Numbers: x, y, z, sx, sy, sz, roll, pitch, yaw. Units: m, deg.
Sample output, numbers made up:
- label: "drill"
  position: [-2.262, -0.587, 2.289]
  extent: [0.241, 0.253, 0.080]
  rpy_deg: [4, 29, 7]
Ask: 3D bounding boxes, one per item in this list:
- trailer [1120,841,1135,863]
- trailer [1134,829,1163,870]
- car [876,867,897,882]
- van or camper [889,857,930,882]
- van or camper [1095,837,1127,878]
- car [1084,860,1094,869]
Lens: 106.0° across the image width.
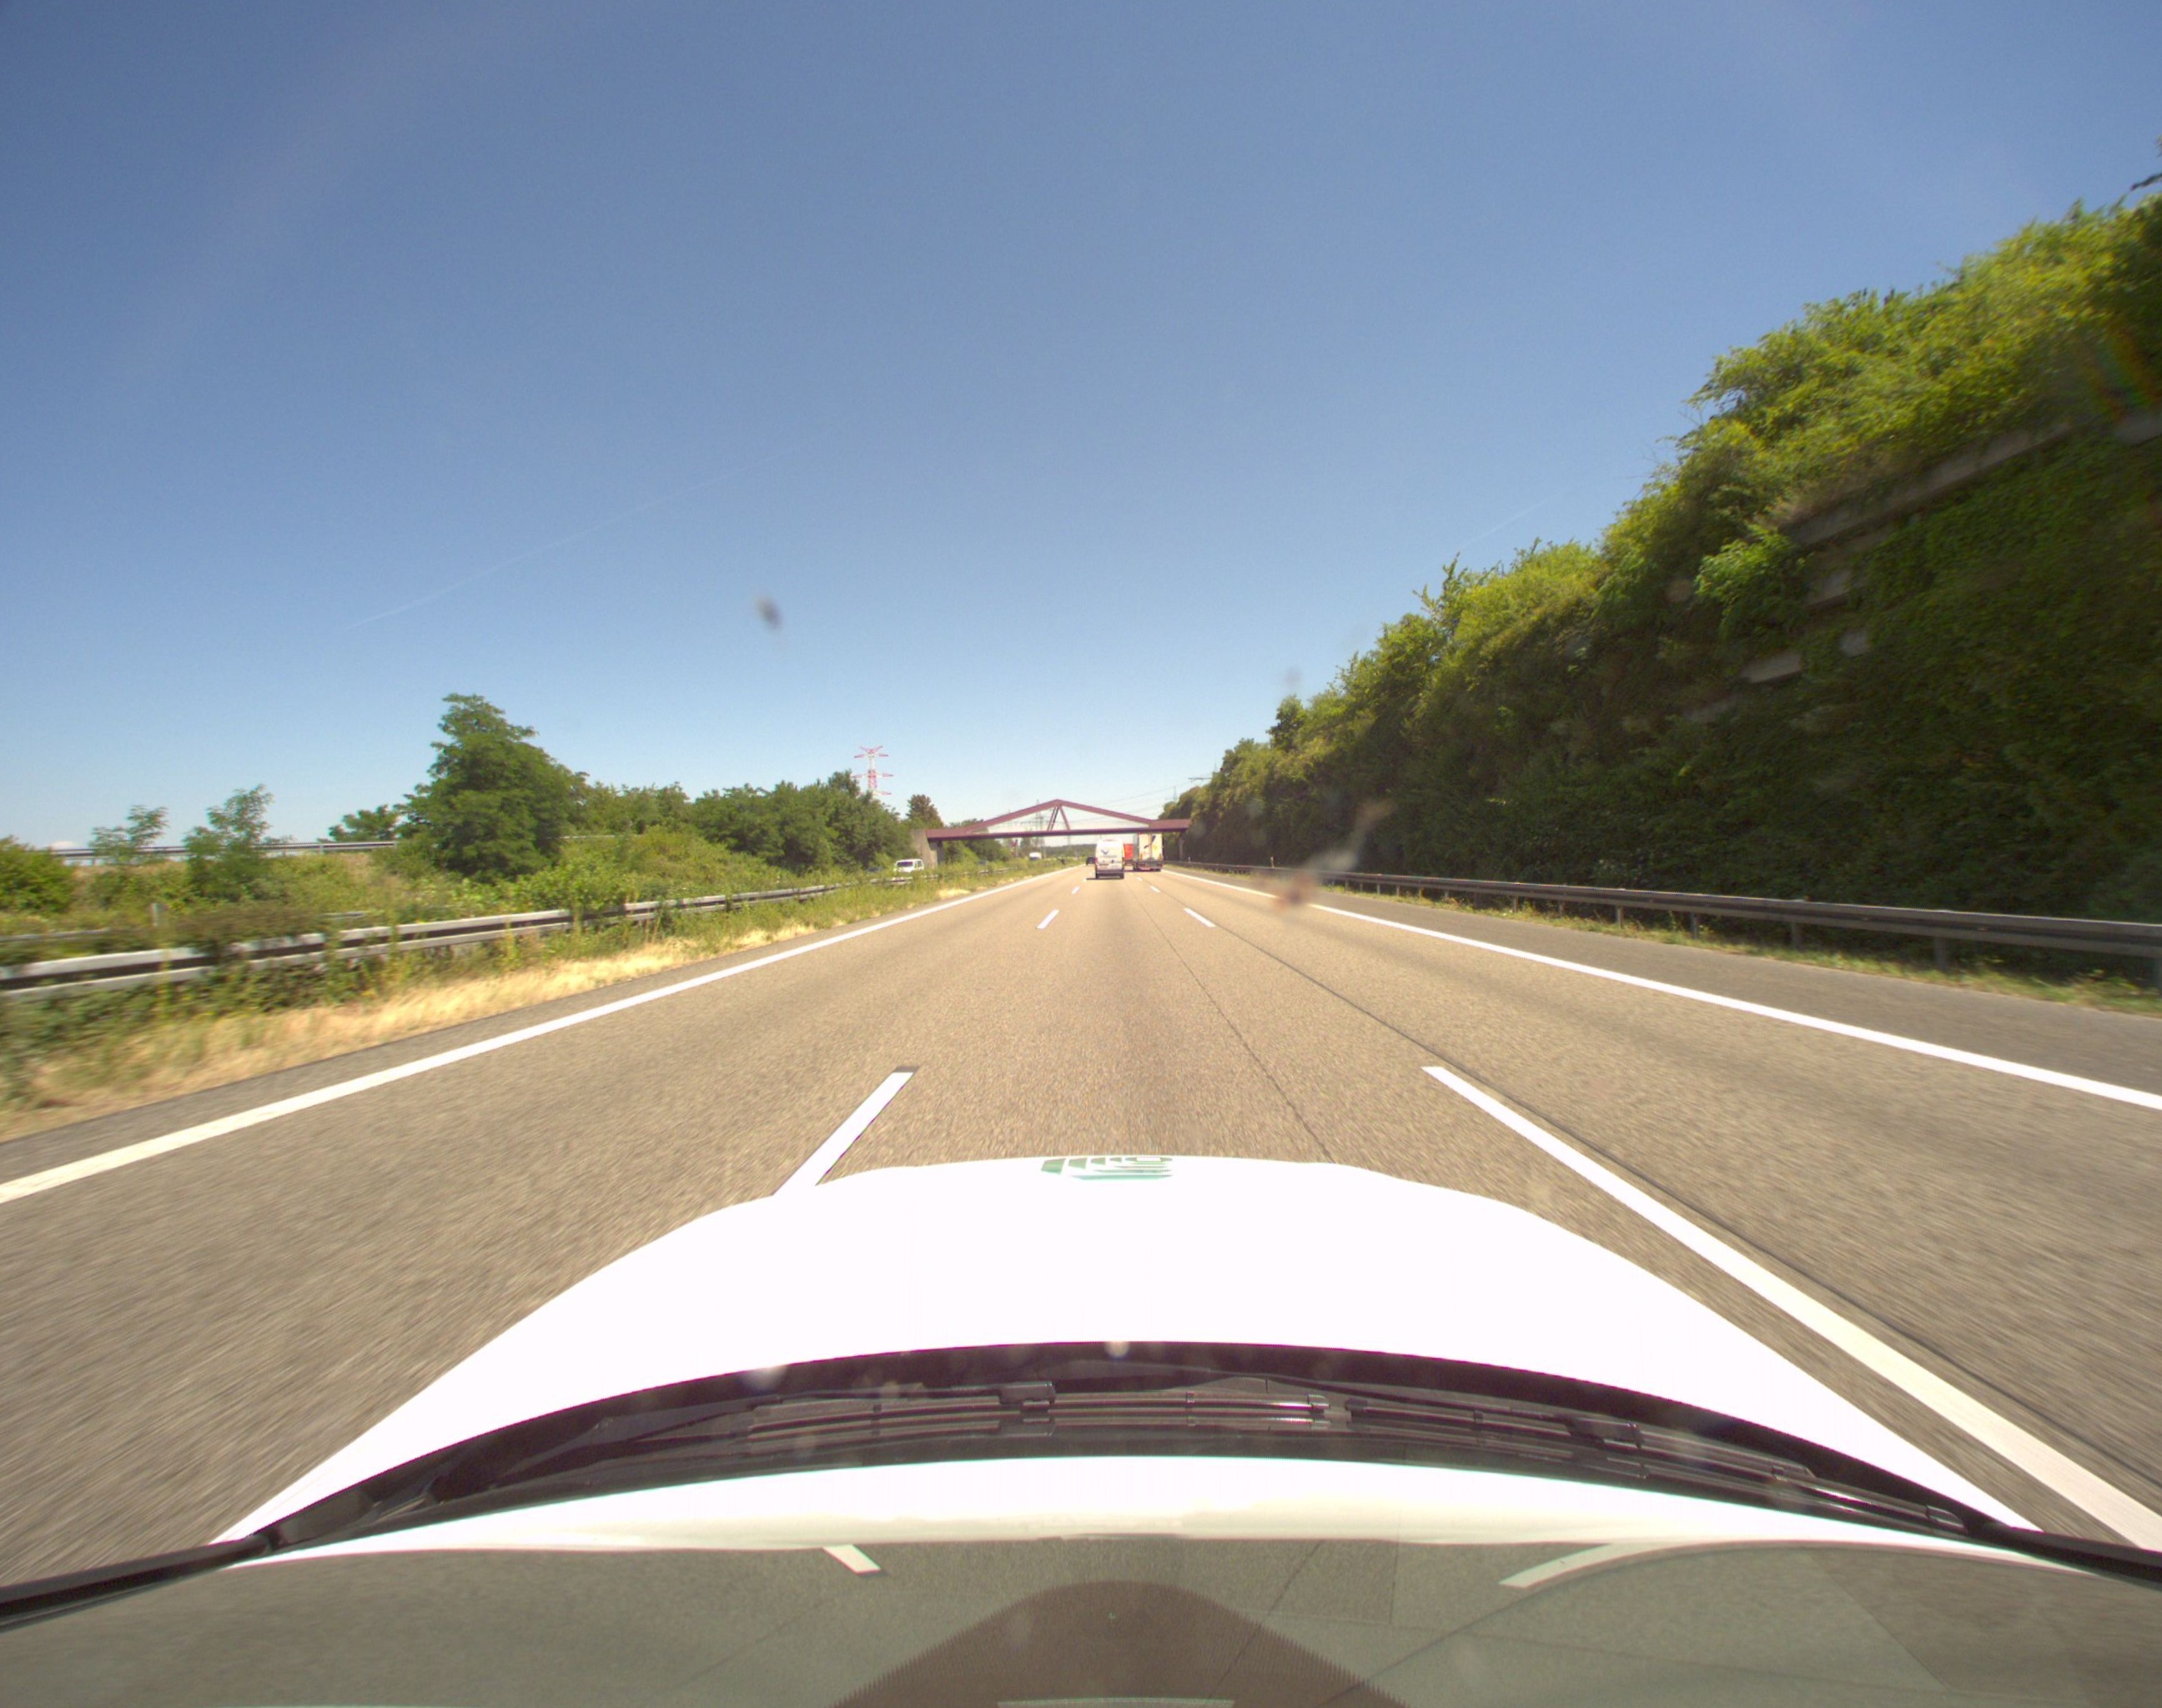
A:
- label: "trailer"
  position: [8.690, -0.341, 151.930]
  extent: [2.627, 3.897, 7.072]
  rpy_deg: [0, 0, 2]
- label: "trailer"
  position: [7.151, -0.464, 87.662]
  extent: [2.627, 4.060, 12.372]
  rpy_deg: [0, 0, 2]
- label: "car"
  position: [-21.456, 2.258, 89.977]
  extent: [1.368, 1.613, 3.365]
  rpy_deg: [0, 0, 1]
- label: "van or camper"
  position: [-14.757, 1.301, 70.336]
  extent: [2.118, 1.856, 5.313]
  rpy_deg: [-4, 0, 2]
- label: "van or camper"
  position: [2.100, 0.223, 57.788]
  extent: [2.222, 2.782, 5.424]
  rpy_deg: [0, 0, 1]
- label: "car"
  position: [1.646, 2.160, 165.477]
  extent: [1.974, 1.817, 3.816]
  rpy_deg: [0, 0, 3]
